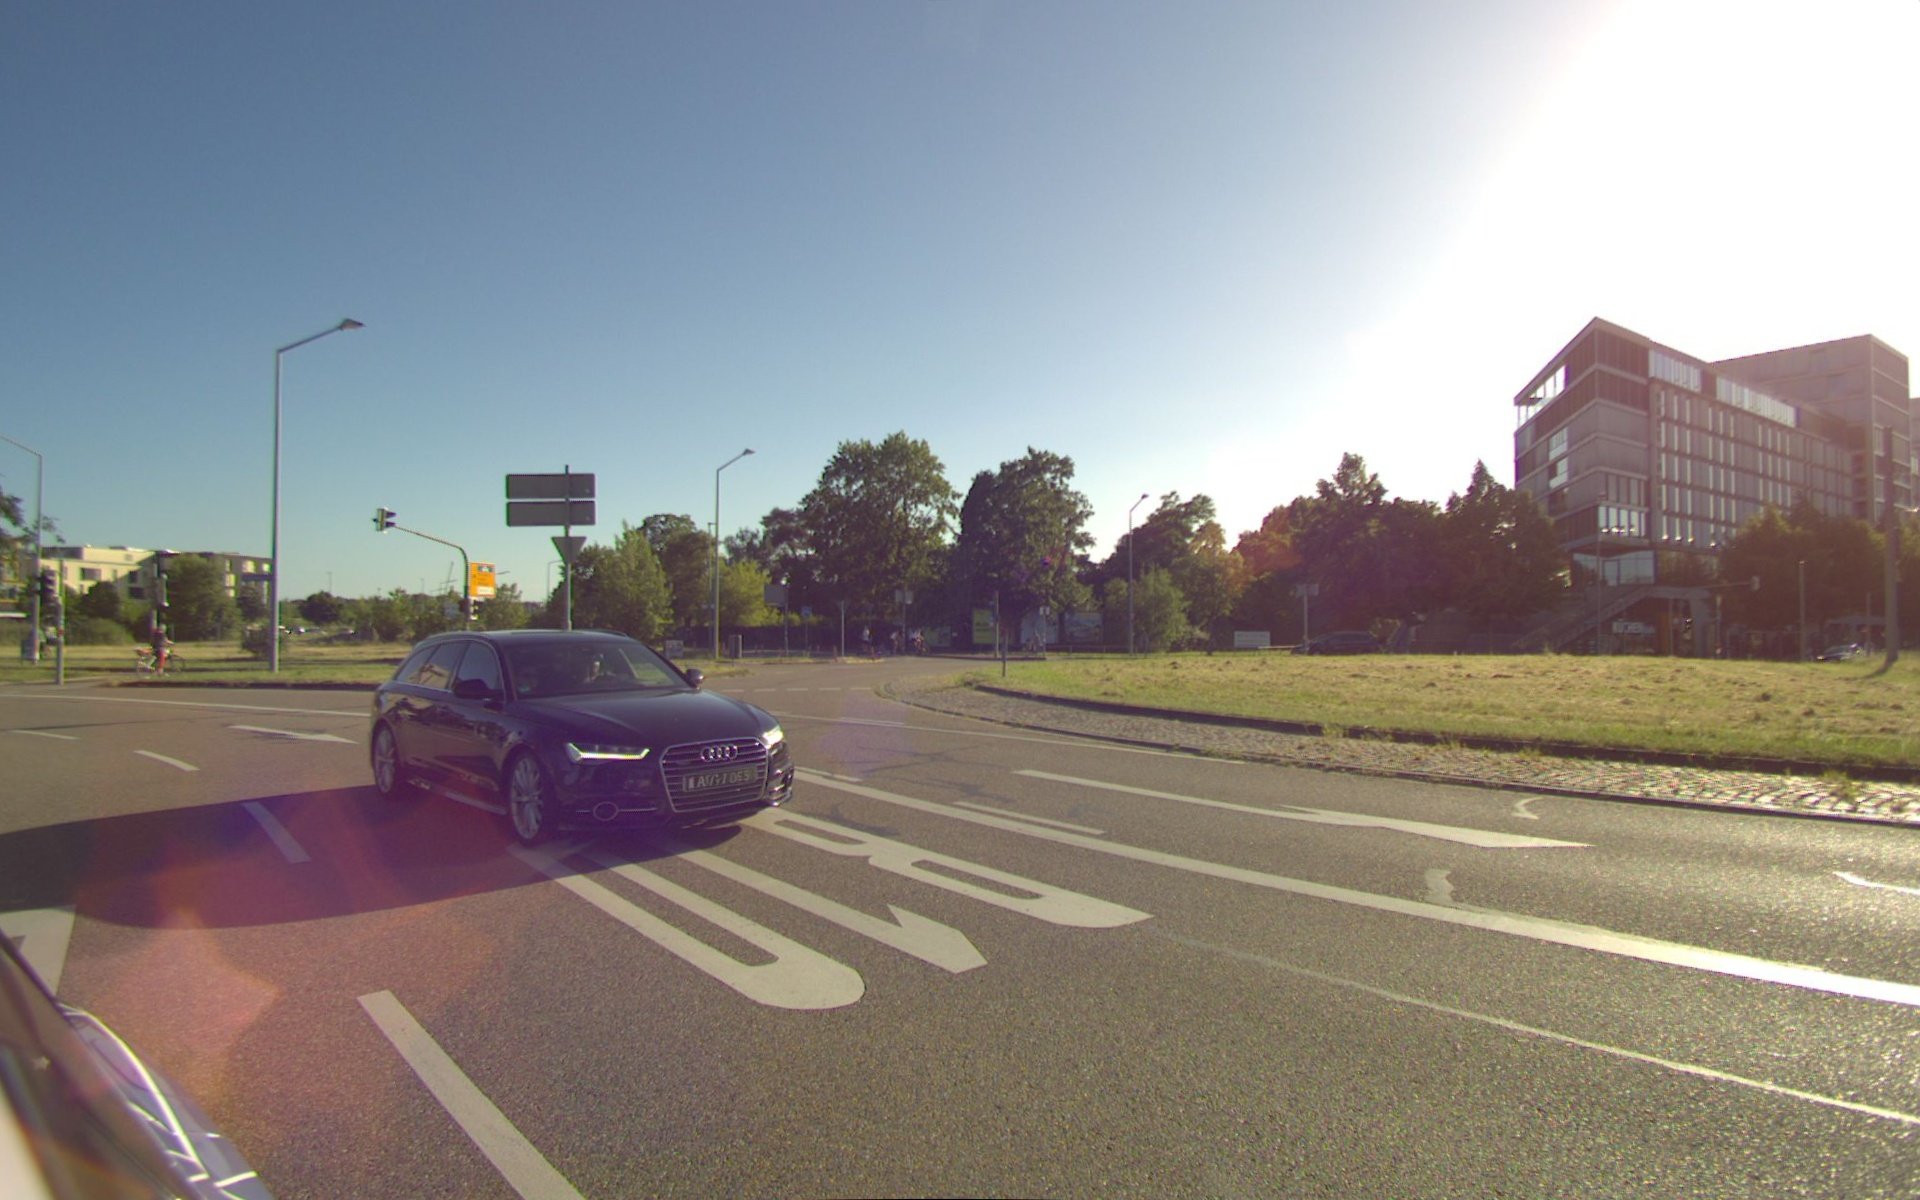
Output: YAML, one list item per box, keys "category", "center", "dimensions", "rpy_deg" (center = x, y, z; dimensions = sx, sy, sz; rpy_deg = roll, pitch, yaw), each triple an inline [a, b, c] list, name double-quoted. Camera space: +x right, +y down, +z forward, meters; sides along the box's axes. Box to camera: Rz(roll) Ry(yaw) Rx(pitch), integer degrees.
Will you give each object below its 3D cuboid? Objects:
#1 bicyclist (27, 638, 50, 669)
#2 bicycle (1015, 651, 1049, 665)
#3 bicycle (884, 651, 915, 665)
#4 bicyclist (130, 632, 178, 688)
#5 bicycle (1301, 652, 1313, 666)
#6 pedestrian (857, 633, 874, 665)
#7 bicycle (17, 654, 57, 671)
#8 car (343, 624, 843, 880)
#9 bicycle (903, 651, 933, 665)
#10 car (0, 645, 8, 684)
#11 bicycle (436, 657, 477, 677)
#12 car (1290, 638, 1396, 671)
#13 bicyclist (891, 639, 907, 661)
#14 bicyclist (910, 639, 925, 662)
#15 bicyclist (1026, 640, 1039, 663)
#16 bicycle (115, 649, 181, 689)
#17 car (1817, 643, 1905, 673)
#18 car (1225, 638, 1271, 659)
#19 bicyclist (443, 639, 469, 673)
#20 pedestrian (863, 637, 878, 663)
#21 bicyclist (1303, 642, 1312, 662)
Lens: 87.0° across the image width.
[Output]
- category: "bicyclist"
  center: [-46.727, 2.696, 51.327]
  dimensions: [0.843, 1.576, 0.431]
  rpy_deg: [-1, -2, 12]
- category: "bicycle"
  center: [4.992, 4.031, 70.206]
  dimensions: [2.226, 0.995, 0.664]
  rpy_deg: [0, -2, -9]
- category: "bicycle"
  center: [-3.814, 3.632, 63.652]
  dimensions: [1.857, 0.859, 0.619]
  rpy_deg: [1, -3, -32]
- category: "bicyclist"
  center: [-24.615, 1.818, 30.916]
  dimensions: [0.694, 1.676, 0.943]
  rpy_deg: [1, -2, -2]
- category: "bicycle"
  center: [26.977, 4.597, 78.707]
  dimensions: [0.584, 1.019, 1.852]
  rpy_deg: [0, -3, 28]
- category: "pedestrian"
  center: [-6.048, 3.144, 64.852]
  dimensions: [0.928, 2.021, 0.590]
  rpy_deg: [1, -3, -20]
- category: "bicycle"
  center: [-46.795, 3.155, 51.319]
  dimensions: [1.869, 0.859, 0.489]
  rpy_deg: [-1, -2, 12]
- category: "car"
  center: [-3.246, 0.966, 8.209]
  dimensions: [5.018, 1.454, 1.772]
  rpy_deg: [-3, -2, 44]
- category: "bicycle"
  center: [-2.634, 3.650, 63.413]
  dimensions: [1.857, 0.859, 0.619]
  rpy_deg: [1, -3, -32]
- category: "car"
  center: [-40.026, 2.536, 39.358]
  dimensions: [4.269, 1.553, 2.006]
  rpy_deg: [0, -2, 5]
- category: "bicycle"
  center: [-22.891, 3.019, 46.023]
  dimensions: [0.611, 0.859, 1.881]
  rpy_deg: [-1, -2, 13]
- category: "car"
  center: [21.453, 3.043, 56.884]
  dimensions: [4.944, 1.798, 2.461]
  rpy_deg: [0, -2, 1]
- category: "bicyclist"
  center: [-3.857, 3.130, 63.628]
  dimensions: [0.823, 1.403, 0.619]
  rpy_deg: [1, -3, -32]
- category: "bicyclist"
  center: [-2.648, 3.148, 63.417]
  dimensions: [0.707, 1.403, 0.619]
  rpy_deg: [1, -3, -32]
- category: "bicyclist"
  center: [5.028, 3.576, 70.214]
  dimensions: [0.821, 1.592, 0.664]
  rpy_deg: [0, -2, -10]
- category: "bicycle"
  center: [-24.599, 2.085, 30.708]
  dimensions: [0.694, 1.137, 1.656]
  rpy_deg: [1, -2, -3]
- category: "car"
  center: [54.513, 3.486, 61.247]
  dimensions: [3.858, 1.798, 1.777]
  rpy_deg: [0, -2, -5]
- category: "car"
  center: [25.417, 4.295, 89.343]
  dimensions: [3.703, 1.819, 1.833]
  rpy_deg: [-1, -2, 11]
- category: "bicyclist"
  center: [-22.901, 2.550, 45.990]
  dimensions: [0.611, 1.529, 0.921]
  rpy_deg: [-1, -2, 13]
- category: "pedestrian"
  center: [-7.314, 4.069, 82.470]
  dimensions: [0.887, 2.029, 0.820]
  rpy_deg: [3, -3, -40]
- category: "bicyclist"
  center: [27.085, 4.049, 78.895]
  dimensions: [0.584, 1.479, 0.749]
  rpy_deg: [0, -3, 28]
